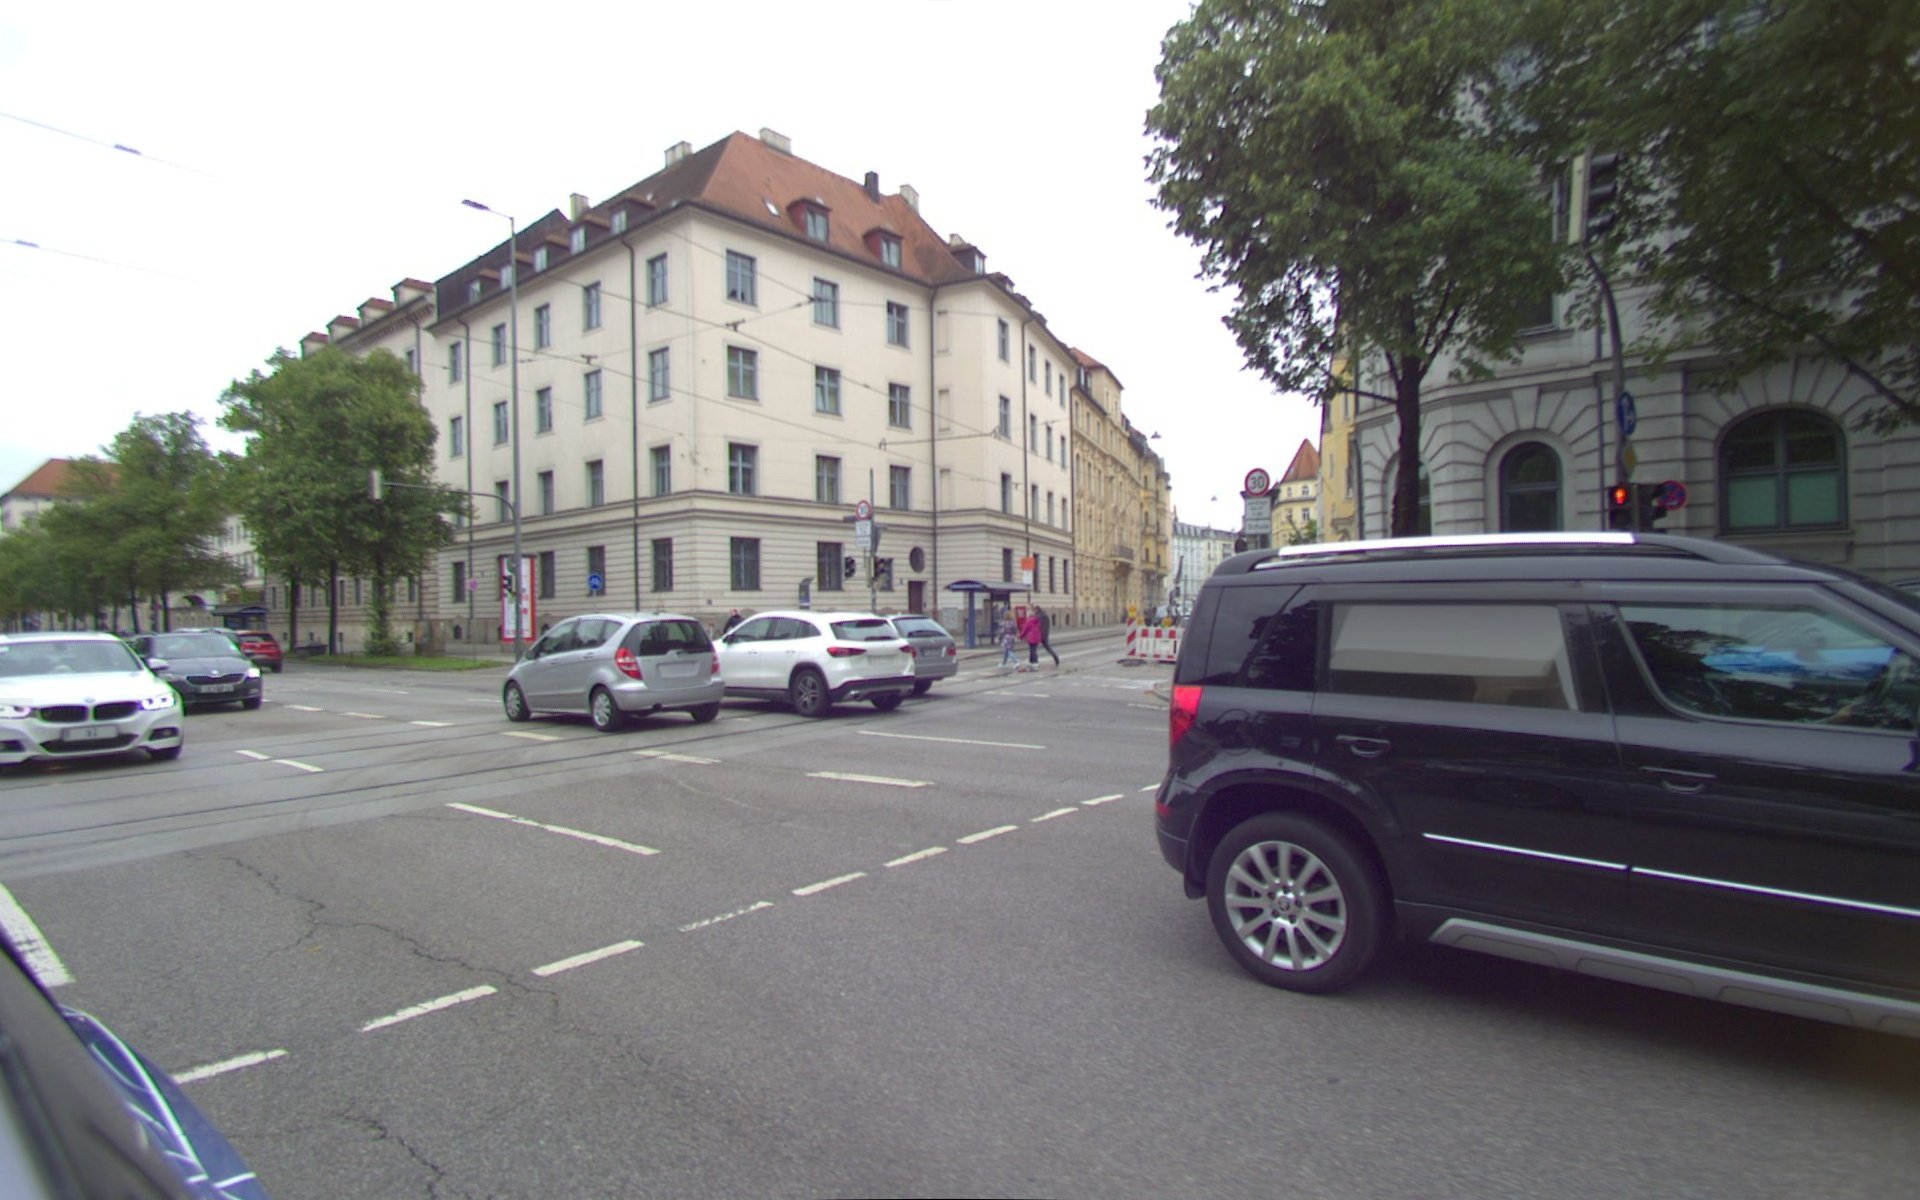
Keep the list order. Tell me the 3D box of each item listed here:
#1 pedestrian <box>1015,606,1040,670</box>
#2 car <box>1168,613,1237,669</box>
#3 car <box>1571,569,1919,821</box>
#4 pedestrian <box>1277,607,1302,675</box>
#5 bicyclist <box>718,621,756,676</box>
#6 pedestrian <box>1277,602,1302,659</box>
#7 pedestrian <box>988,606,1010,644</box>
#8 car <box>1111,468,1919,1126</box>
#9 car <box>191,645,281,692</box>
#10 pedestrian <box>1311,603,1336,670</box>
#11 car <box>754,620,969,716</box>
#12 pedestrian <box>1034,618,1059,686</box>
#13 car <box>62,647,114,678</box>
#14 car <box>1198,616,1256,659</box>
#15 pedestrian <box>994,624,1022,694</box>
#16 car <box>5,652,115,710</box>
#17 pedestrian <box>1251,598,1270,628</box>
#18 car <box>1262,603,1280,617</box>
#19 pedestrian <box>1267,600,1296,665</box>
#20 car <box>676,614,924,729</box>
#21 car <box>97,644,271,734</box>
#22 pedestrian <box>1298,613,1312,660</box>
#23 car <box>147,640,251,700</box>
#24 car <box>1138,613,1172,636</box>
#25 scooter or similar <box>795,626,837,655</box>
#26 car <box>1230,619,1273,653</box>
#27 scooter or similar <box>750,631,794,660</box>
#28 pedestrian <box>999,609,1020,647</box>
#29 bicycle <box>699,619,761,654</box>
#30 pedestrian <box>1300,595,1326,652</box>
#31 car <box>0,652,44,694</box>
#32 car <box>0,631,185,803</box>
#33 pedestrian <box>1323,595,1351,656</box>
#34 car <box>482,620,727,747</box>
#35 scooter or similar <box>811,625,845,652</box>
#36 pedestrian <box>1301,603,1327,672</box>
[{"bbox_3d":[1.869,1.041,28.035,0.494,1.752,0.471,-1,-1,-31],"label":"pedestrian"},{"bbox_3d":[8.124,1.323,33.707,1.682,1.744,3.547,-2,-2,22],"label":"car"},{"bbox_3d":[7.091,0.643,7.283,4.348,1.668,1.821,-2,-3,41],"label":"car"},{"bbox_3d":[10.160,1.244,31.154,0.638,2.029,0.775,-2,0,20],"label":"pedestrian"},{"bbox_3d":[-6.666,1.454,30.279,0.892,1.590,0.653,-3,0,41],"label":"bicyclist"},{"bbox_3d":[12.082,1.099,37.093,0.797,2.029,0.775,-2,0,20],"label":"pedestrian"},{"bbox_3d":[1.958,1.263,50.709,0.660,1.866,0.797,-3,0,41],"label":"pedestrian"},{"bbox_3d":[2.764,0.499,3.353,4.202,1.649,1.705,-2,-1,40],"label":"car"},{"bbox_3d":[-26.162,2.412,36.511,4.225,1.541,1.735,-2,-1,41],"label":"car"},{"bbox_3d":[11.337,1.137,31.580,0.661,2.029,0.576,-2,0,20],"label":"pedestrian"},{"bbox_3d":[-1.930,1.224,19.072,4.054,1.588,1.716,-2,-1,41],"label":"car"},{"bbox_3d":[2.426,1.451,28.406,0.494,1.869,0.471,-1,-1,-31],"label":"pedestrian"},{"bbox_3d":[-48.665,3.468,56.449,4.162,1.652,1.661,-3,-2,41],"label":"car"},{"bbox_3d":[10.218,1.412,38.559,1.682,1.530,3.547,-2,-2,22],"label":"car"},{"bbox_3d":[1.284,1.574,27.212,0.494,1.869,0.529,-1,-1,-31],"label":"pedestrian"},{"bbox_3d":[-25.779,2.258,28.944,4.272,1.458,1.774,-2,-1,40],"label":"car"},{"bbox_3d":[16.040,0.709,53.993,0.857,1.588,0.871,-2,-2,22],"label":"pedestrian"},{"bbox_3d":[37.731,1.237,122.868,1.984,1.608,3.698,-2,-2,19],"label":"car"},{"bbox_3d":[10.439,1.042,32.812,0.797,2.029,0.775,-2,0,20],"label":"pedestrian"},{"bbox_3d":[-2.631,1.111,16.156,3.997,1.608,1.726,-3,-4,40],"label":"car"},{"bbox_3d":[-14.821,1.607,19.251,4.272,1.458,1.774,-2,-1,40],"label":"car"},{"bbox_3d":[14.003,1.467,41.044,0.499,1.869,0.467,-2,-1,20],"label":"pedestrian"},{"bbox_3d":[-22.057,1.996,29.286,3.943,1.583,1.617,-3,-2,41],"label":"car"},{"bbox_3d":[14.437,1.788,74.878,1.984,1.608,3.698,-2,-2,19],"label":"car"},{"bbox_3d":[-6.166,1.737,43.303,1.901,1.166,0.681,-3,0,41],"label":"scooter or similar"},{"bbox_3d":[14.498,1.769,50.190,1.682,1.588,3.547,-2,-2,22],"label":"car"},{"bbox_3d":[-7.753,1.891,41.745,1.947,1.127,0.681,-3,0,41],"label":"scooter or similar"},{"bbox_3d":[2.458,1.382,50.270,0.660,1.866,0.797,-3,0,41],"label":"pedestrian"},{"bbox_3d":[-6.943,1.106,30.526,2.180,0.995,0.655,-3,0,42],"label":"bicycle"},{"bbox_3d":[12.854,0.860,36.845,0.797,2.029,0.775,-2,0,20],"label":"pedestrian"},{"bbox_3d":[-36.093,2.731,38.169,4.272,1.458,1.774,-2,-1,40],"label":"car"},{"bbox_3d":[-10.977,1.235,12.050,5.023,1.649,1.774,-2,-1,40],"label":"car"},{"bbox_3d":[12.890,0.855,34.642,0.797,2.029,0.775,-2,0,20],"label":"pedestrian"},{"bbox_3d":[-5.253,1.140,14.731,3.943,1.583,1.617,-3,-2,41],"label":"car"},{"bbox_3d":[-5.756,1.667,43.998,1.546,1.127,0.539,-3,0,41],"label":"scooter or similar"},{"bbox_3d":[10.835,1.138,30.947,0.661,2.029,0.775,-2,0,20],"label":"pedestrian"}]
